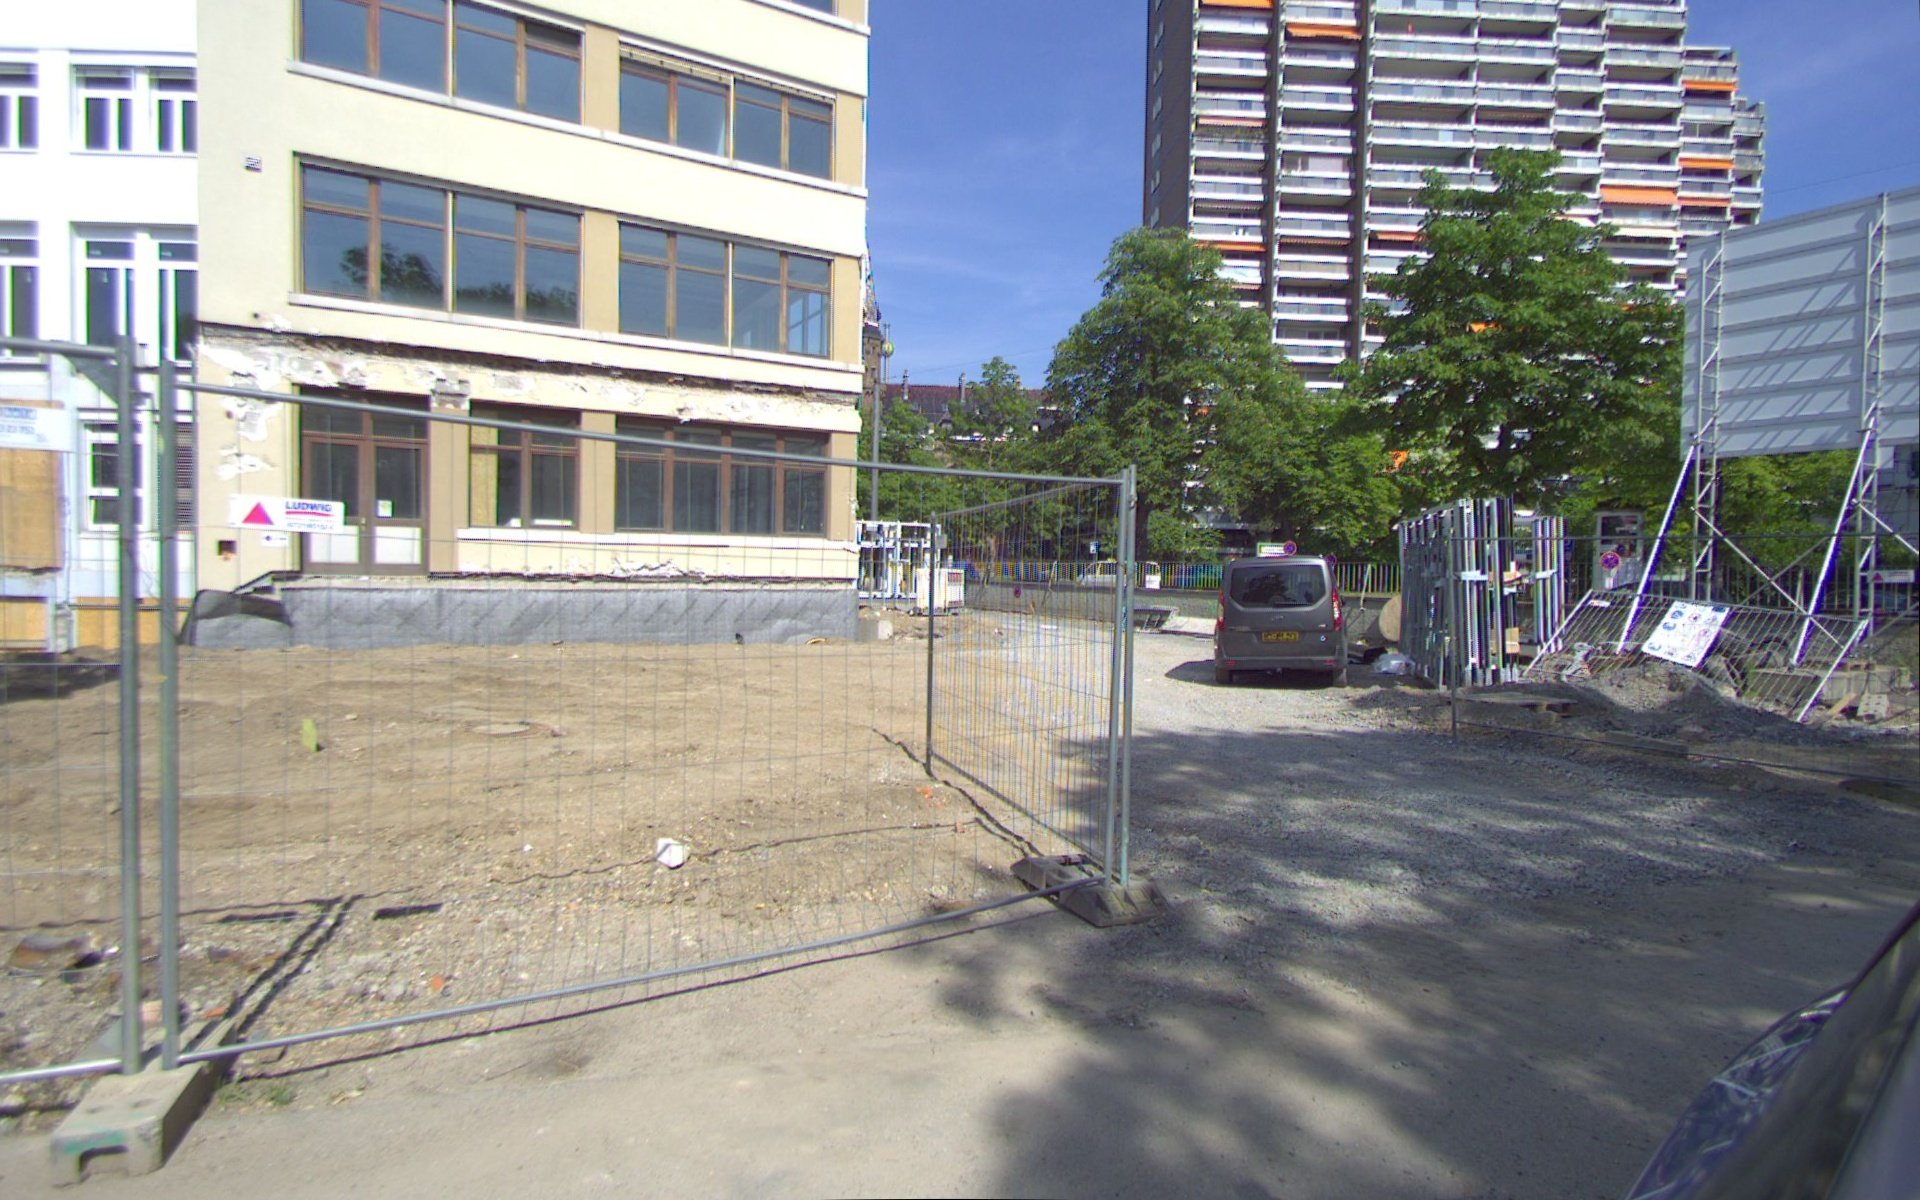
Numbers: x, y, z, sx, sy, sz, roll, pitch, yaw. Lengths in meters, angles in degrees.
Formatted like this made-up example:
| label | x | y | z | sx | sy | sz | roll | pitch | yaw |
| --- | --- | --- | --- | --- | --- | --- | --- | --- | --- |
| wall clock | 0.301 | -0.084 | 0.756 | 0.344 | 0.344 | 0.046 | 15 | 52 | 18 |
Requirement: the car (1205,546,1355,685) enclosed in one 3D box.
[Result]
| label | x | y | z | sx | sy | sz | roll | pitch | yaw |
| --- | --- | --- | --- | --- | --- | --- | --- | --- | --- |
| car | 4.942 | 0.144 | 15.469 | 1.897 | 1.802 | 4.286 | 0 | 1 | 20 |

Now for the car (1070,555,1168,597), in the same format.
| label | x | y | z | sx | sy | sz | roll | pitch | yaw |
| --- | --- | --- | --- | --- | --- | --- | --- | --- | --- |
| car | 7.898 | -1.225 | 50.782 | 1.956 | 1.970 | 5.257 | 0 | 2 | -29 |

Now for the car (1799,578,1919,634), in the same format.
| label | x | y | z | sx | sy | sz | roll | pitch | yaw |
| --- | --- | --- | --- | --- | --- | --- | --- | --- | --- |
| car | 27.052 | 0.138 | 29.900 | 1.815 | 1.427 | 4.132 | 0 | 3 | 14 |

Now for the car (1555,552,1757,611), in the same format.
| label | x | y | z | sx | sy | sz | roll | pitch | yaw |
| --- | --- | --- | --- | --- | --- | --- | --- | --- | --- |
| car | 19.999 | -0.561 | 29.290 | 1.904 | 1.540 | 4.396 | 1 | 1 | -29 |
